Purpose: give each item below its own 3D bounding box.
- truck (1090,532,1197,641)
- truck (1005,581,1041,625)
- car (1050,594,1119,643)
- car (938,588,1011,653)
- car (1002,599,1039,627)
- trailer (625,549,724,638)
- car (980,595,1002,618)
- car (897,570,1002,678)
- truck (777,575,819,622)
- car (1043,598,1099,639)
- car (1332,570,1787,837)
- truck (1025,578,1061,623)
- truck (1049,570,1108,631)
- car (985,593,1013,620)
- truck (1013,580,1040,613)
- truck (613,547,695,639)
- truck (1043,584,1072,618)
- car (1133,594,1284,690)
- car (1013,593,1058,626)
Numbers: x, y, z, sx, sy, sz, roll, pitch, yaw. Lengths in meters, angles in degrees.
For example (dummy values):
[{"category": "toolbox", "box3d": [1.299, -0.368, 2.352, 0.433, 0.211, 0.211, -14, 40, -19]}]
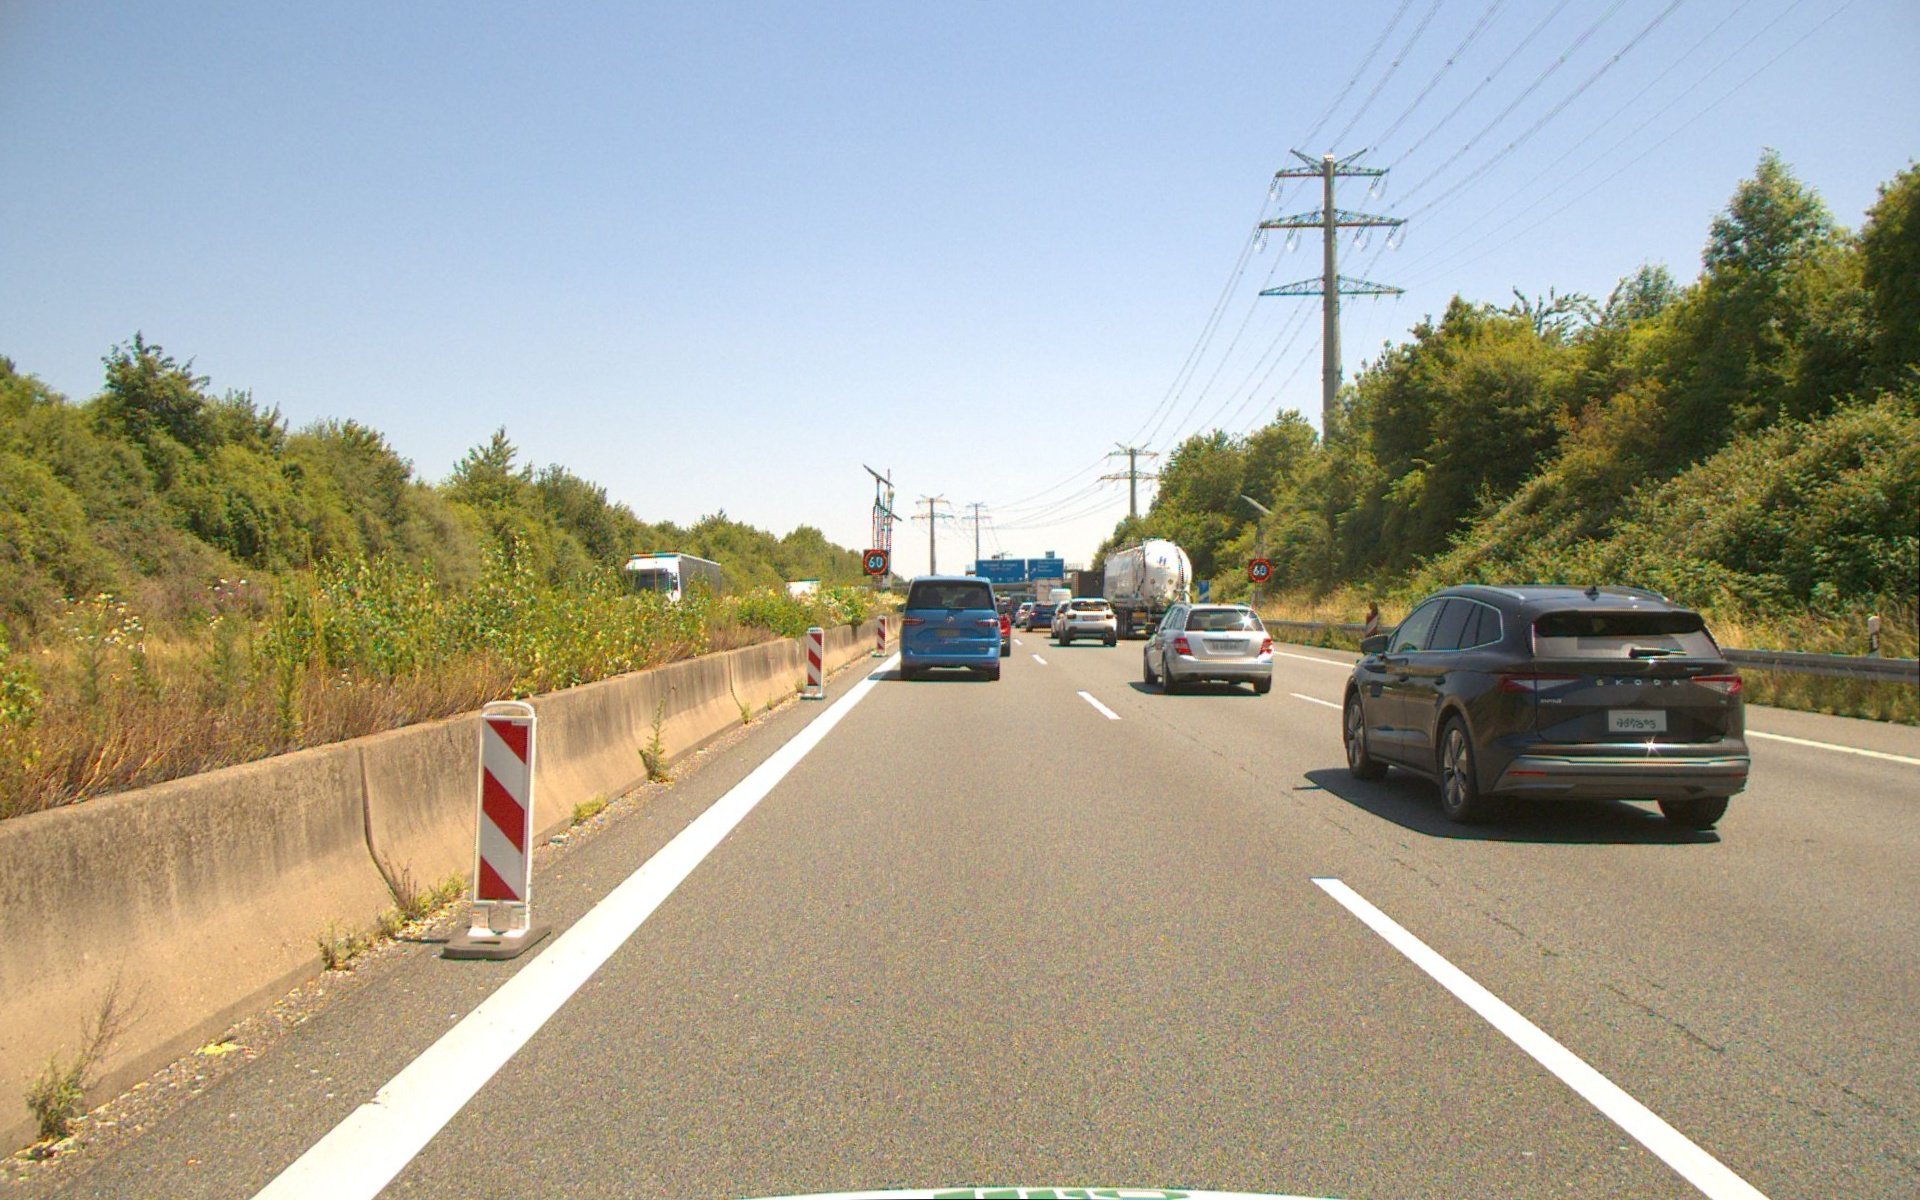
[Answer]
[{"category": "truck", "box3d": [7.693, -0.519, 71.726, 2.591, 4.143, 16.437, 1, 0, -1]}, {"category": "truck", "box3d": [4.058, 0.186, 107.255, 1.953, 2.771, 5.679, 1, 0, -1]}, {"category": "car", "box3d": [4.123, 0.604, 55.185, 1.870, 1.534, 3.920, 1, 0, -2]}, {"category": "car", "box3d": [0.349, 0.533, 44.551, 1.869, 1.659, 4.383, 0, 0, -1]}, {"category": "car", "box3d": [3.437, 0.720, 94.611, 1.870, 1.542, 4.382, 1, 0, -2]}, {"category": "trailer", "box3d": [-15.194, -0.323, 89.218, 2.697, 4.239, 14.195, -3, 0, 0]}, {"category": "car", "box3d": [2.826, 0.557, 152.627, 1.952, 2.049, 4.000, 1, 0, 1]}, {"category": "car", "box3d": [-0.256, 0.433, 31.794, 1.833, 1.912, 4.382, 1, 0, -2]}, {"category": "truck", "box3d": [-14.486, -0.110, 148.305, 2.706, 3.956, 9.028, -3, 0, 0]}, {"category": "car", "box3d": [4.495, 0.732, 67.515, 1.870, 1.597, 4.382, 1, 0, -2]}, {"category": "car", "box3d": [4.221, 0.637, 12.478, 1.791, 1.642, 4.430, 1, 0, -1]}, {"category": "truck", "box3d": [8.448, 0.037, 170.035, 2.878, 4.366, 12.549, 1, 0, -1]}, {"category": "truck", "box3d": [7.368, 0.029, 104.505, 2.591, 3.600, 12.549, 1, 0, -1]}, {"category": "car", "box3d": [3.043, 0.518, 129.464, 1.953, 2.049, 3.999, 1, 0, -1]}, {"category": "truck", "box3d": [9.038, -0.439, 225.901, 2.878, 4.366, 12.549, 1, 0, -1]}, {"category": "truck", "box3d": [-15.165, -0.333, 82.396, 2.695, 4.239, 6.410, -3, 0, 0]}, {"category": "truck", "box3d": [8.228, 0.100, 139.951, 1.953, 2.771, 5.679, 1, 0, -1]}, {"category": "car", "box3d": [4.120, 0.660, 28.094, 1.784, 1.462, 4.382, 1, 0, -2]}, {"category": "car", "box3d": [3.663, 0.453, 80.571, 1.870, 1.542, 4.382, 1, 0, -2]}]
